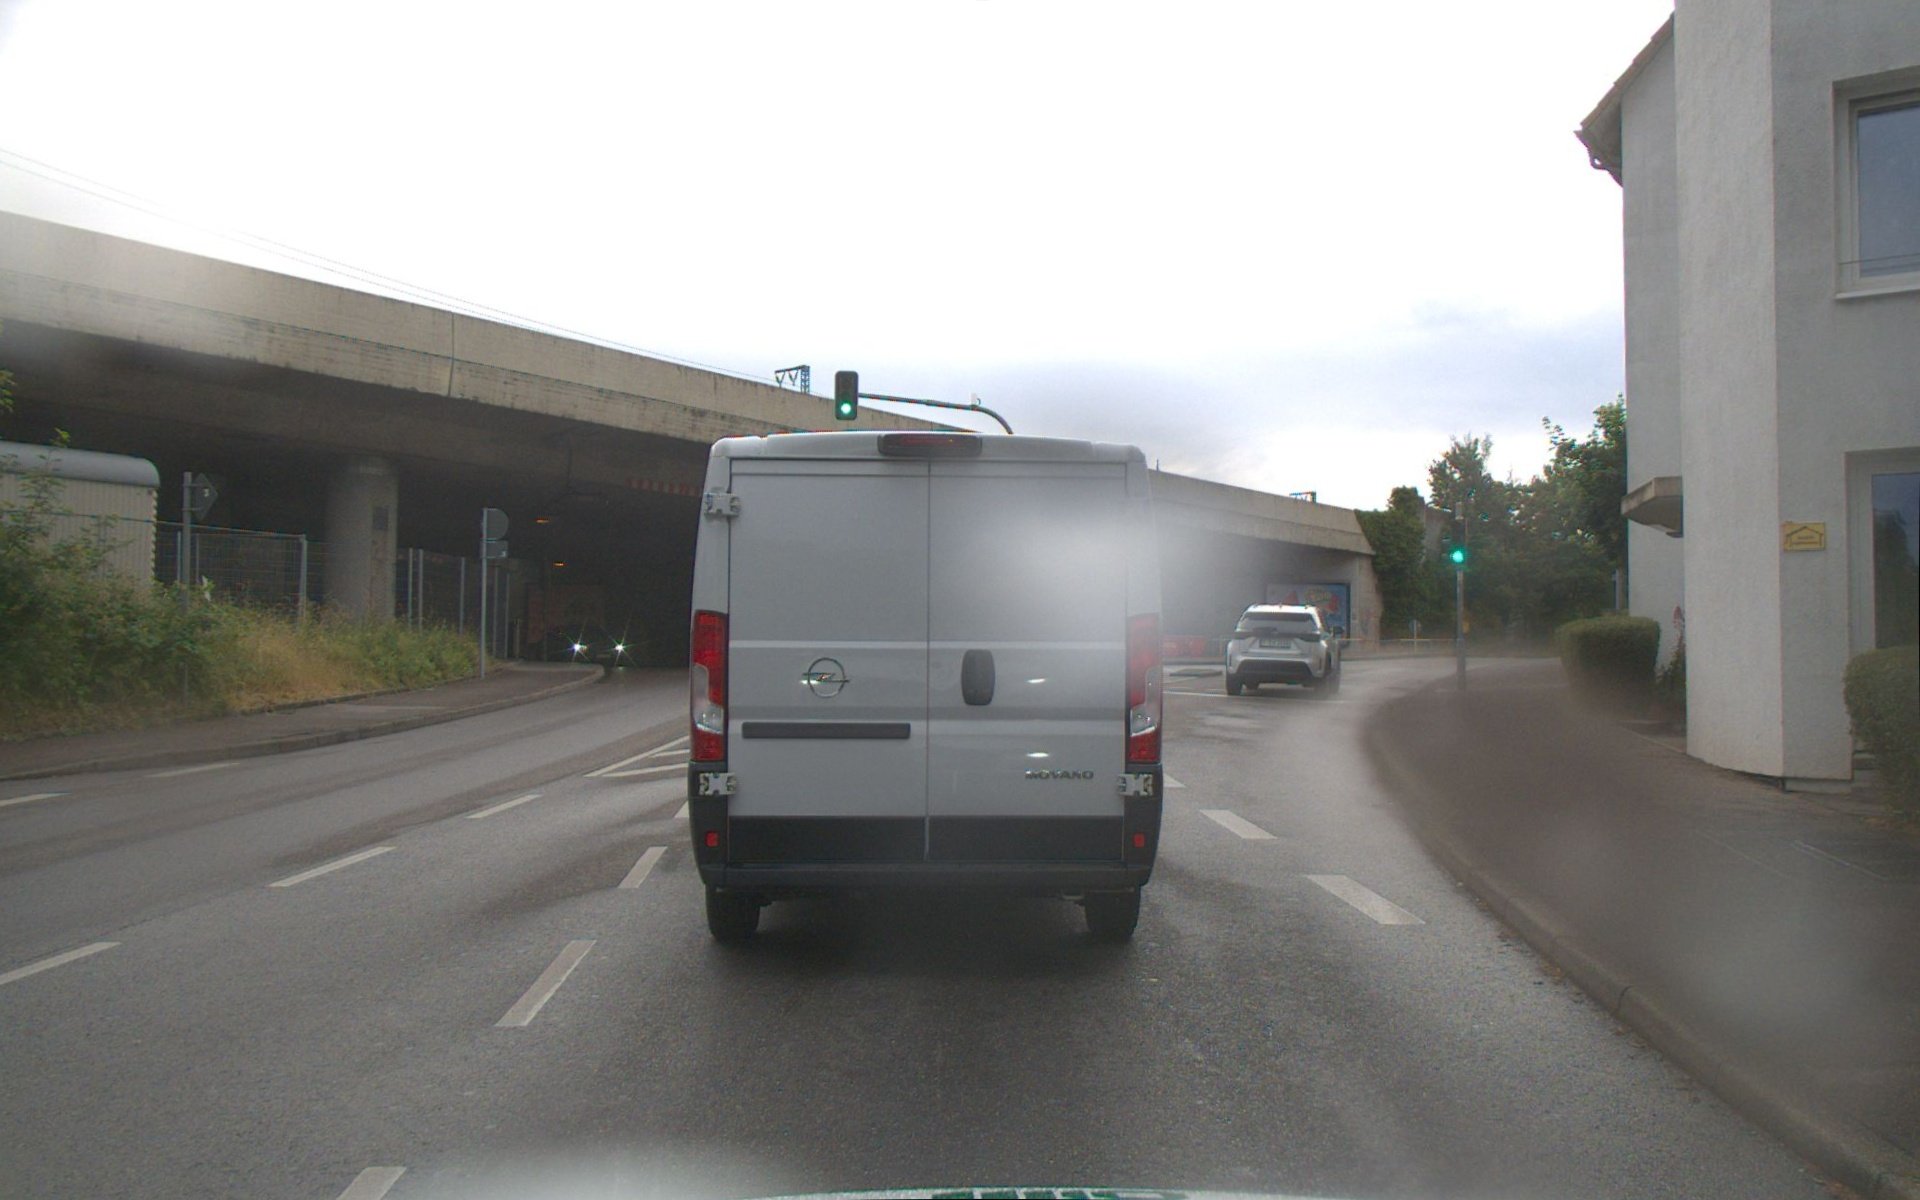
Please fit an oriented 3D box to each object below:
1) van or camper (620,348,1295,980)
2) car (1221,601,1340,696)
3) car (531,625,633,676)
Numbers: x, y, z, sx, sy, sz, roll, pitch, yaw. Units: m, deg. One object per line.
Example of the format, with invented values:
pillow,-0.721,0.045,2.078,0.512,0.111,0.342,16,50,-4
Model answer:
van or camper,-0.109,0.276,8.965,2.644,2.459,4.900,0,-1,-3
car,5.762,0.823,29.408,1.835,1.557,4.003,0,-1,15
car,-12.802,1.667,55.867,1.975,1.557,4.449,1,0,-33
